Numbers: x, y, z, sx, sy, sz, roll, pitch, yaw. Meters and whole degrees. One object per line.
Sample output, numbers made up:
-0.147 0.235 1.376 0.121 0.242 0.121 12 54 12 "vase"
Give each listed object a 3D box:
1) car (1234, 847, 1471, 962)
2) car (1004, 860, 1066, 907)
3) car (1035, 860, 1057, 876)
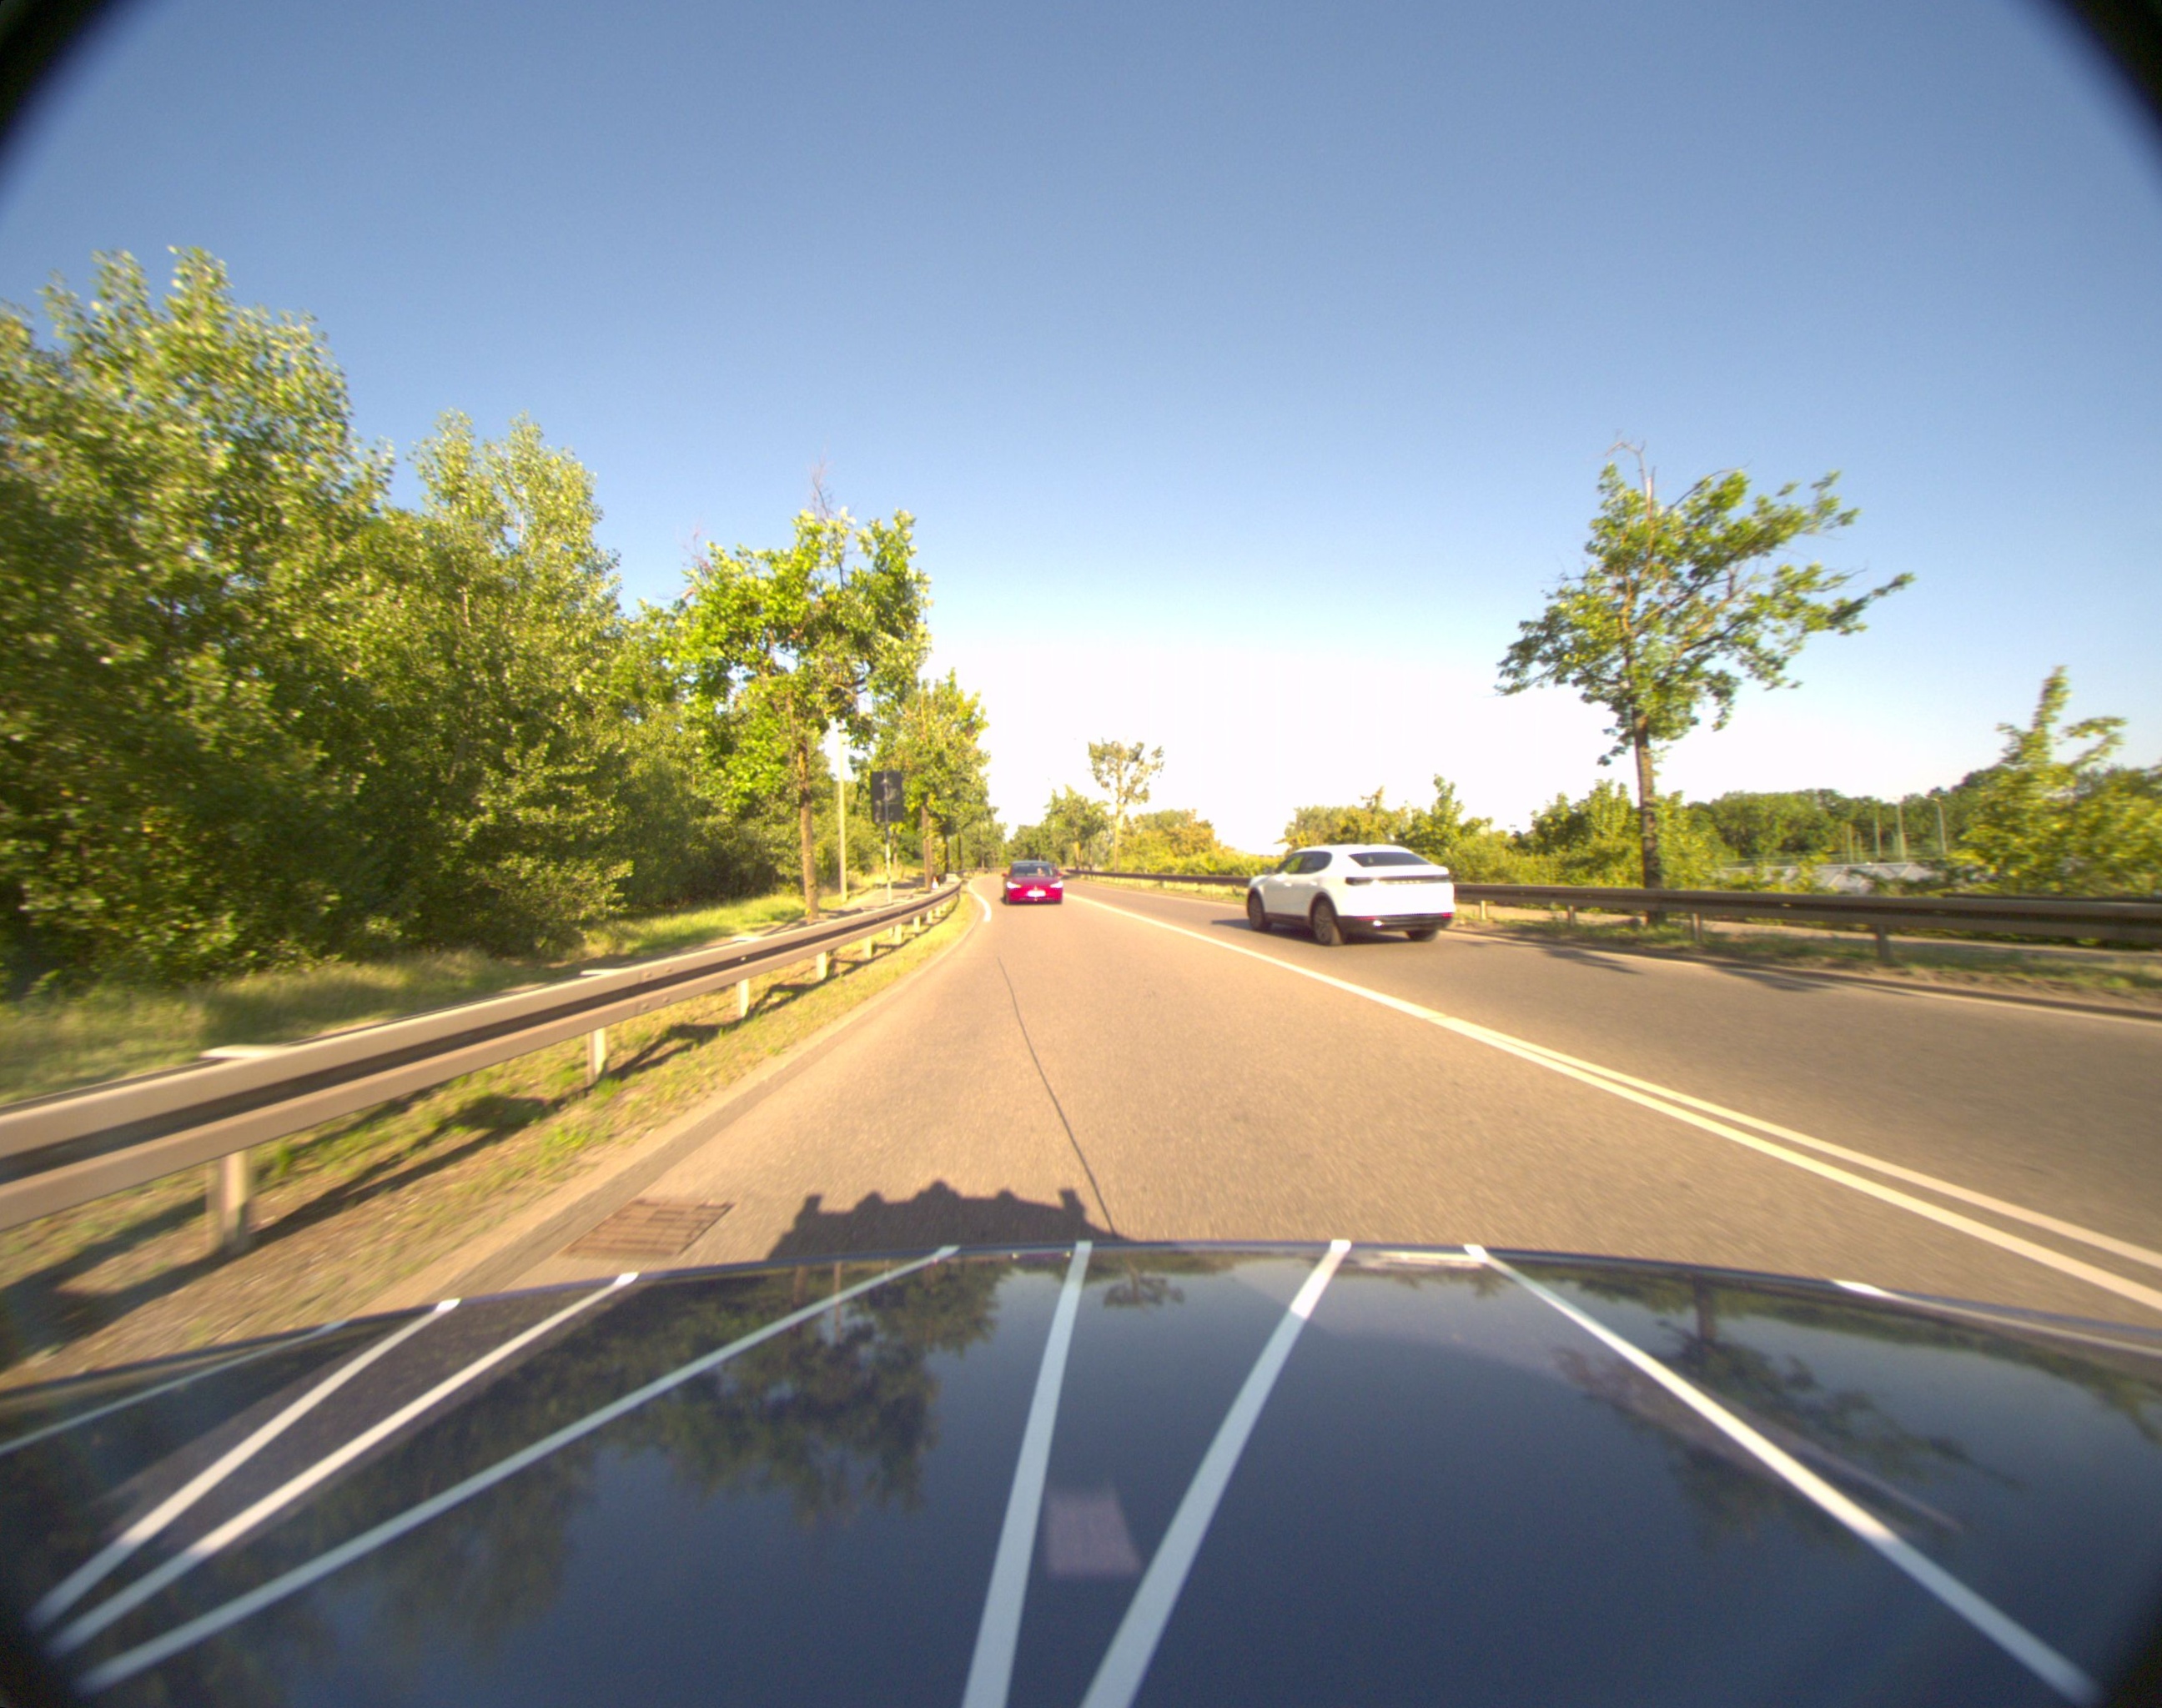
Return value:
4.382 0.717 13.194 1.834 1.580 4.644 -2 0 -9 "car"
-1.667 0.939 26.106 1.783 1.433 4.356 0 0 -8 "car"
-3.401 1.329 73.063 1.689 1.415 3.856 0 0 -9 "car"
